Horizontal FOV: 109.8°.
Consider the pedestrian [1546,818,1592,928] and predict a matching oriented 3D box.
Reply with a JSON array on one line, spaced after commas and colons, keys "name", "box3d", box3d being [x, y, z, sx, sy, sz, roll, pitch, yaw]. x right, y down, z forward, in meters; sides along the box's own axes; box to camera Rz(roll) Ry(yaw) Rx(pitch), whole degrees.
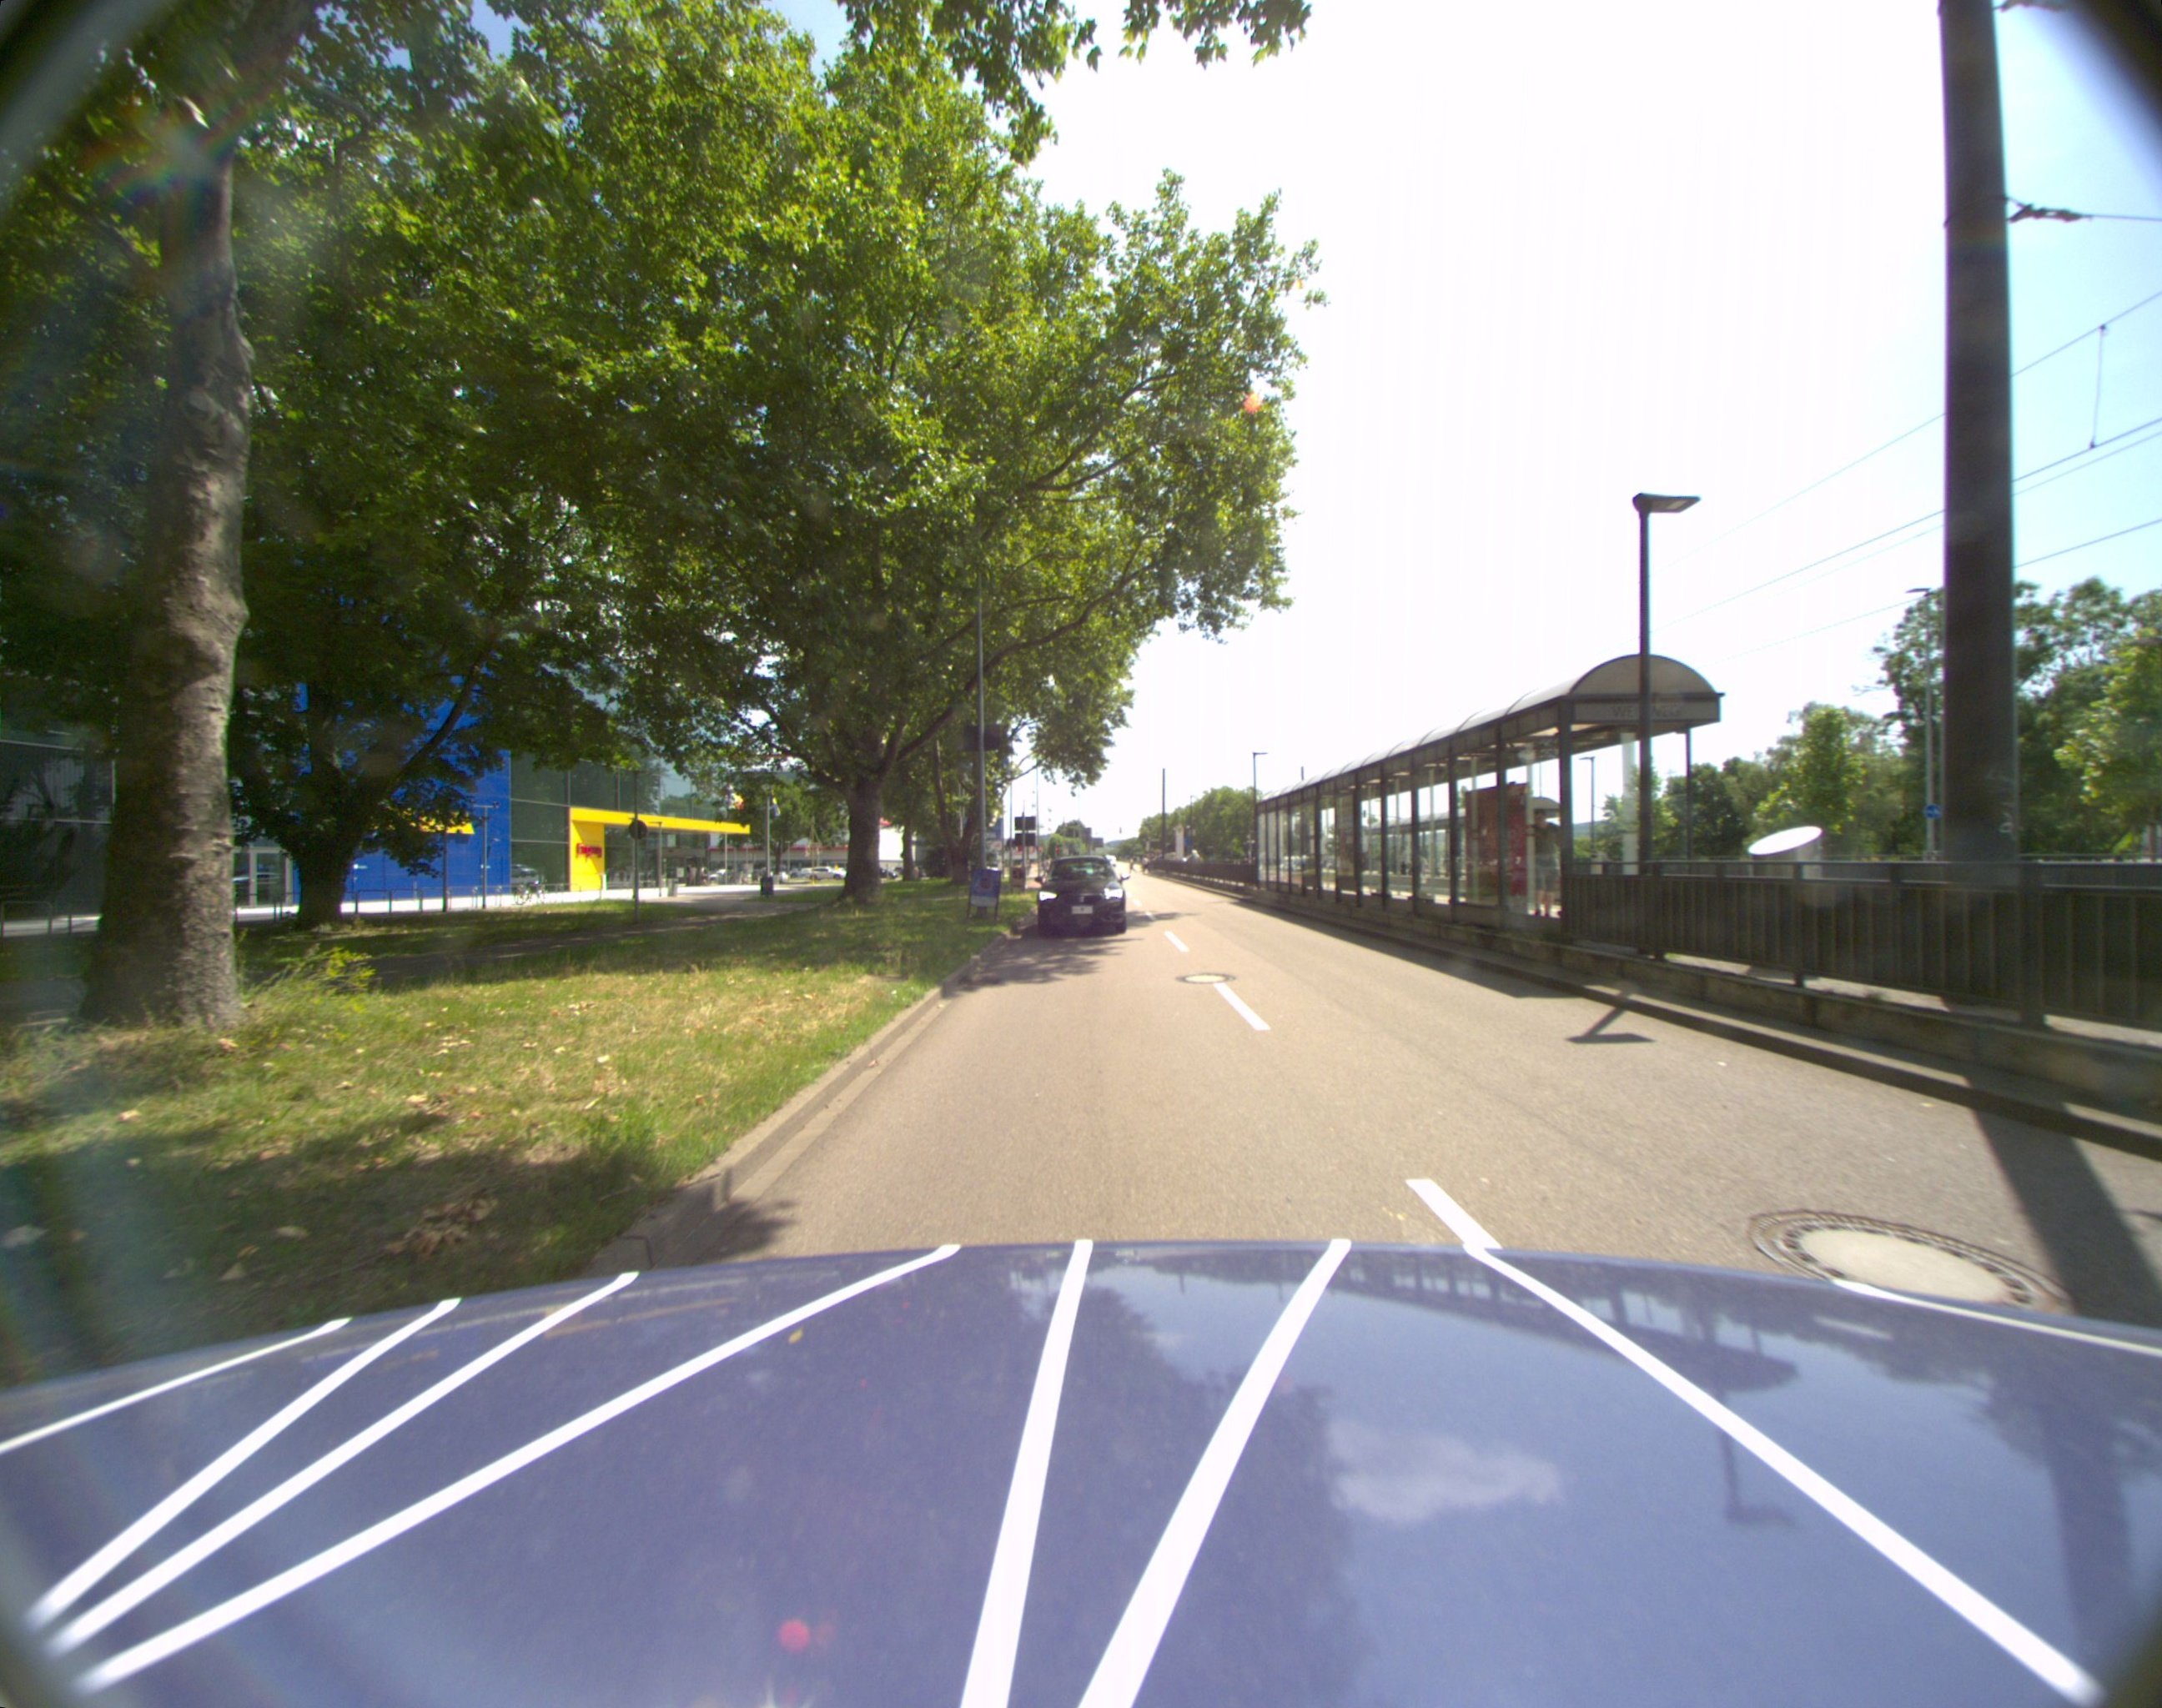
[{"name": "pedestrian", "box3d": [6.841, 0.255, 10.655, 0.396, 1.499, 0.417, -2, 1, -36]}]

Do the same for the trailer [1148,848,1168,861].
[{"name": "trailer", "box3d": [23.970, 0.159, 238.437, 3.124, 3.848, 15.474, -1, 0, -6]}]

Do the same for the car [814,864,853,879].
[{"name": "car", "box3d": [-30.329, 2.142, 93.218, 4.079, 1.630, 2.000, -1, 0, -1]}]

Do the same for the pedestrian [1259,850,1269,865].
[{"name": "pedestrian", "box3d": [19.627, 0.379, 81.488, 0.763, 1.539, 0.764, -2, 0, -1]}]

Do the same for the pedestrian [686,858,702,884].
[{"name": "pedestrian", "box3d": [-30.329, 1.357, 59.518, 0.798, 2.002, 0.733, -2, 0, 14]}]

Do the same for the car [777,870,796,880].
[{"name": "car", "box3d": [-51.997, 3.670, 134.213, 1.853, 1.537, 3.999, -2, 0, -2]}]

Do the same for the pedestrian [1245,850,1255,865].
[{"name": "pedestrian", "box3d": [18.397, 0.342, 82.697, 0.959, 1.600, 0.764, -2, 0, -1]}]

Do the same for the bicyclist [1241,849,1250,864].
[{"name": "bicyclist", "box3d": [18.193, 0.298, 83.907, 0.666, 1.605, 0.732, -2, 0, -14]}]

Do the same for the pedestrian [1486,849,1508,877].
[{"name": "pedestrian", "box3d": [17.815, 0.368, 32.521, 0.578, 1.183, 0.639, -1, 0, 2]}]

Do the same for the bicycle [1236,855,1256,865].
[{"name": "bicycle", "box3d": [18.220, 0.646, 83.868, 1.979, 1.094, 0.763, -2, 0, -14]}]

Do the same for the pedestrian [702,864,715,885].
[{"name": "pedestrian", "box3d": [-29.825, 1.643, 60.832, 0.607, 1.662, 0.587, -2, 0, 12]}]

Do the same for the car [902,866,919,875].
[{"name": "car", "box3d": [-33.343, 3.243, 149.023, 1.998, 1.707, 4.504, -2, 0, 4]}]

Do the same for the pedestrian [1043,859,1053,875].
[{"name": "pedestrian", "box3d": [-3.486, 1.359, 80.349, 0.896, 1.597, 0.767, -2, 0, -2]}]

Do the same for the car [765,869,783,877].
[{"name": "car", "box3d": [-60.543, 3.758, 149.786, 1.693, 1.302, 4.001, -2, 0, 3]}]

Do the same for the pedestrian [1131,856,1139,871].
[{"name": "pedestrian", "box3d": [5.746, 1.041, 80.706, 0.787, 1.563, 0.764, -2, 0, -2]}]

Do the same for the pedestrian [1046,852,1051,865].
[{"name": "pedestrian", "box3d": [-4.060, 0.572, 95.980, 0.528, 1.570, 0.612, -2, 0, 6]}]

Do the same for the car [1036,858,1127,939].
[{"name": "car", "box3d": [0.009, 0.931, 17.707, 1.820, 1.583, 4.000, -2, 0, 0]}]

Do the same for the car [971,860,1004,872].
[{"name": "car", "box3d": [-11.467, 1.427, 93.158, 3.834, 1.389, 1.803, -2, 0, -1]}]

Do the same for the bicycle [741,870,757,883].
[{"name": "bicycle", "box3d": [-30.792, 2.122, 70.530, 0.803, 1.138, 2.431, -1, 0, -12]}]

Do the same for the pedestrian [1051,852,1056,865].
[{"name": "pedestrian", "box3d": [-3.440, 0.545, 96.055, 0.528, 1.656, 0.640, -2, 0, 6]}]

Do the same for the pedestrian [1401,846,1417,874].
[{"name": "pedestrian", "box3d": [18.216, 0.314, 42.200, 0.578, 1.524, 0.639, -1, 0, 2]}]

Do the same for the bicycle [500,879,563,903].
[{"name": "bicycle", "box3d": [-23.804, 1.607, 32.926, 2.065, 0.963, 0.868, -1, 0, -2]}]

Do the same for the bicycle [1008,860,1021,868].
[{"name": "bicycle", "box3d": [-10.376, 1.573, 119.173, 1.874, 1.155, 0.833, -1, 0, 22]}]

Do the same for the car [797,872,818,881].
[{"name": "car", "box3d": [-44.631, 3.647, 124.087, 1.853, 1.368, 3.944, -2, 0, 3]}]

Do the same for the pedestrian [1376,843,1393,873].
[{"name": "pedestrian", "box3d": [17.745, 0.222, 44.427, 0.736, 1.718, 0.579, -1, 0, 39]}]

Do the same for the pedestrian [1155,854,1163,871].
[{"name": "pedestrian", "box3d": [8.052, 0.884, 78.713, 0.734, 1.663, 0.678, -1, 0, -2]}]

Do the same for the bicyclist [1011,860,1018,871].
[{"name": "bicyclist", "box3d": [-10.441, 1.736, 119.187, 0.797, 1.690, 0.818, -1, 0, 21]}]

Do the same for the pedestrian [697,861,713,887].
[{"name": "pedestrian", "box3d": [-29.687, 1.564, 60.051, 0.798, 2.002, 0.733, -2, 0, 9]}]

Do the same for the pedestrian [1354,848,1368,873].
[{"name": "pedestrian", "box3d": [18.314, 0.417, 49.729, 0.558, 1.628, 0.806, -1, 0, -6]}]

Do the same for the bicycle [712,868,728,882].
[{"name": "bicycle", "box3d": [-33.359, 1.923, 70.287, 0.803, 1.192, 2.430, -1, 0, -12]}]

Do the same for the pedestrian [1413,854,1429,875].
[{"name": "pedestrian", "box3d": [18.092, 0.539, 40.403, 0.578, 1.088, 0.639, -1, 0, 2]}]

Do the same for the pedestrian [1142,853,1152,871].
[{"name": "pedestrian", "box3d": [6.587, 0.809, 76.260, 0.865, 1.791, 0.883, -2, 0, -2]}]

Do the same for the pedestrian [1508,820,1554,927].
[{"name": "pedestrian", "box3d": [6.477, 0.270, 10.937, 0.396, 1.499, 0.418, -1, 1, -26]}]

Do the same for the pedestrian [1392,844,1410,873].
[{"name": "pedestrian", "box3d": [18.104, 0.258, 42.975, 0.826, 1.629, 0.579, -1, 0, 39]}]

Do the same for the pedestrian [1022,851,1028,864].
[{"name": "pedestrian", "box3d": [-8.470, 0.554, 115.250, 0.805, 1.854, 0.798, -2, 0, 6]}]

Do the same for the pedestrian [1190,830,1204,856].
[{"name": "pedestrian", "box3d": [7.509, -0.687, 49.190, 0.734, 1.655, 0.742, -2, 0, 0]}]
